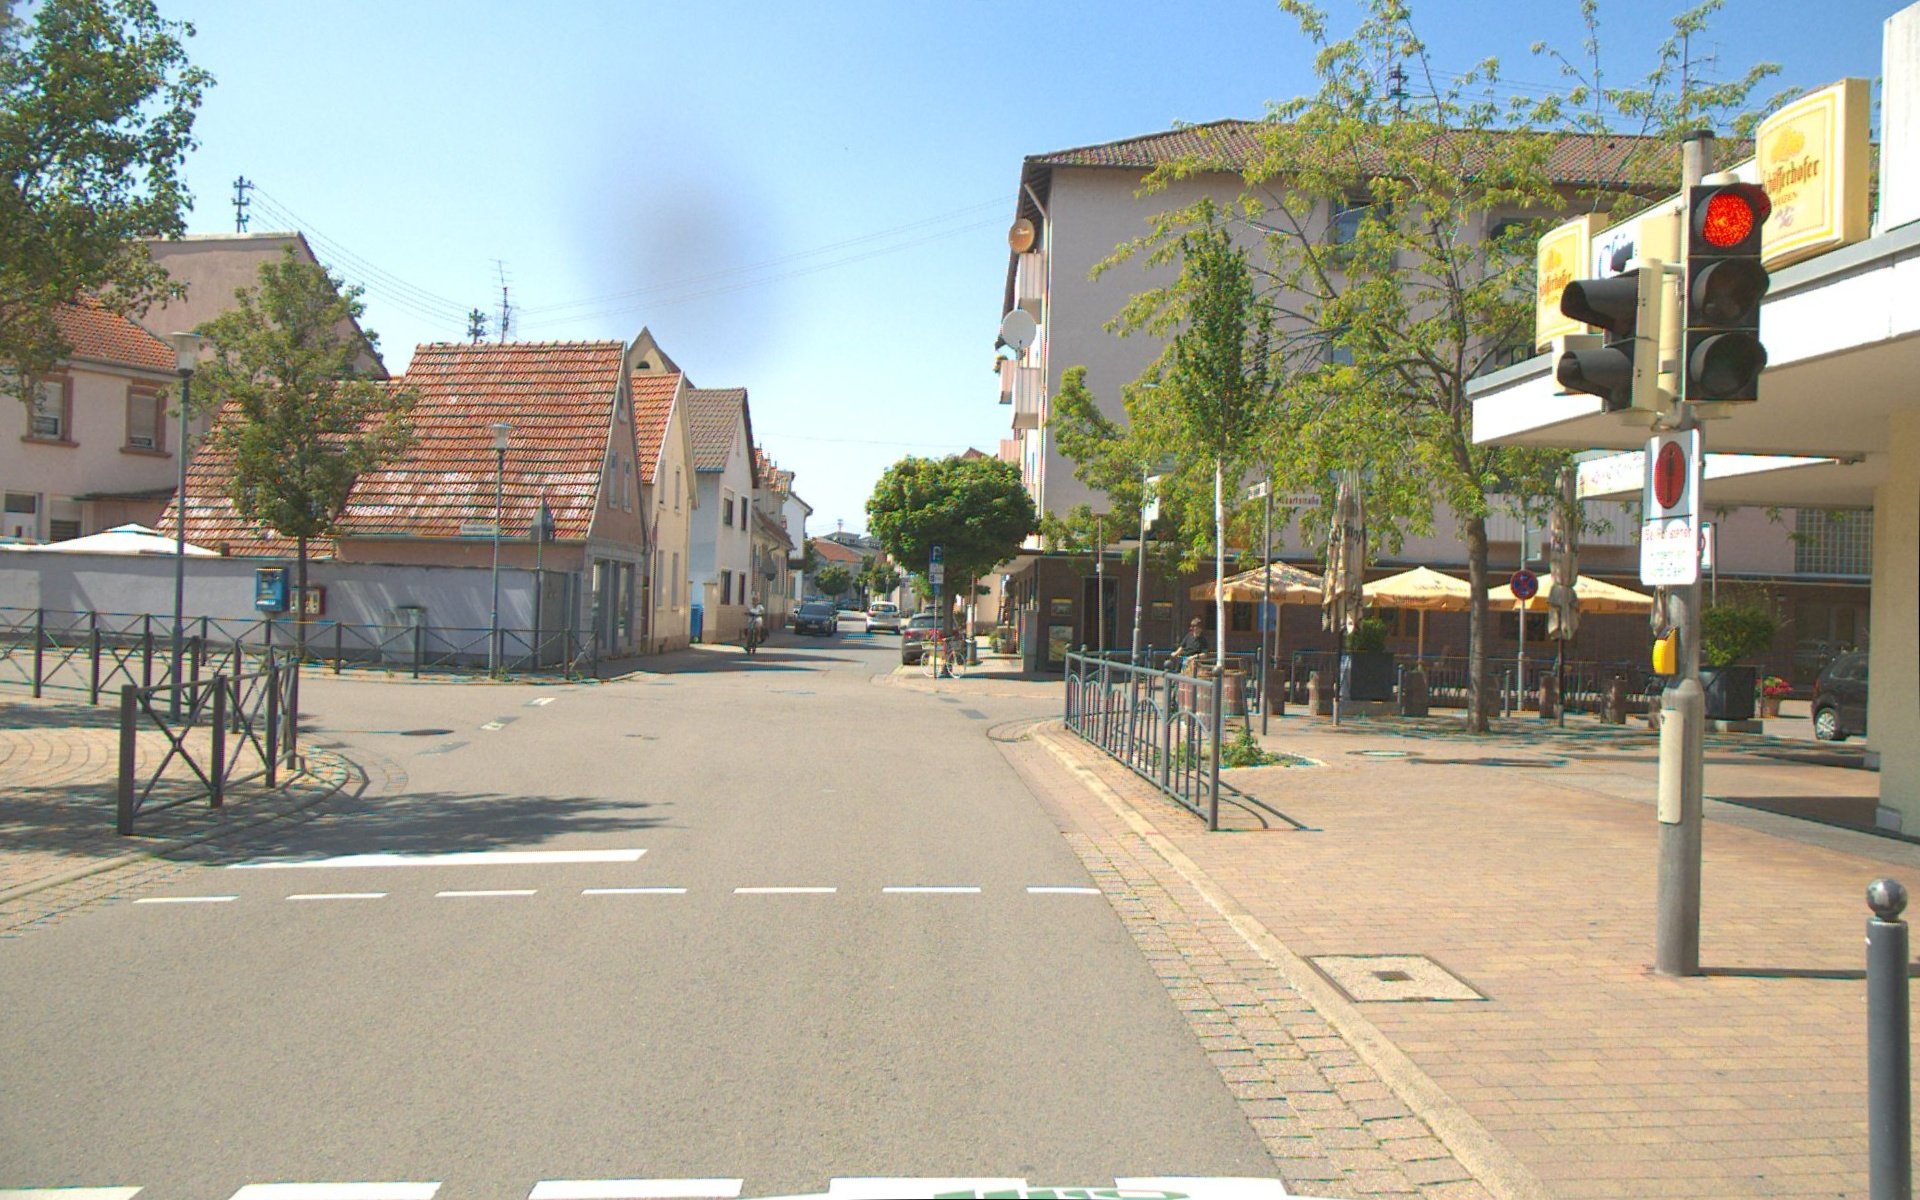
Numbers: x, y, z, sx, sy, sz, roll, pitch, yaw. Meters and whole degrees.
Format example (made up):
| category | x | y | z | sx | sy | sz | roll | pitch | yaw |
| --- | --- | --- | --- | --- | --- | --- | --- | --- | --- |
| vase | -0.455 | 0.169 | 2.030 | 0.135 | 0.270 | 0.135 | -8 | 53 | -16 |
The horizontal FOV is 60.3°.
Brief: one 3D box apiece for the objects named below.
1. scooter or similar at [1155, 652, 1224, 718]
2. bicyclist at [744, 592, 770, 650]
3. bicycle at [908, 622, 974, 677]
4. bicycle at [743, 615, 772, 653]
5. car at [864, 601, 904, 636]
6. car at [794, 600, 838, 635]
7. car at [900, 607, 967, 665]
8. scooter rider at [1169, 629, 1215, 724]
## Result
| category | x | y | z | sx | sy | sz | roll | pitch | yaw |
| --- | --- | --- | --- | --- | --- | --- | --- | --- | --- |
| scooter or similar | 3.220 | 1.194 | 23.248 | 0.875 | 0.889 | 0.377 | 2 | -1 | -22 |
| bicyclist | -6.085 | 0.614 | 49.586 | 0.655 | 1.720 | 0.761 | 1 | -1 | -1 |
| bicycle | -0.446 | 1.141 | 38.645 | 0.523 | 1.214 | 1.648 | 2 | -1 | -44 |
| bicycle | -6.089 | 1.011 | 49.694 | 0.660 | 1.113 | 1.895 | 0 | 0 | -1 |
| car | -3.876 | 0.932 | 84.853 | 1.796 | 1.681 | 4.000 | 2 | 0 | 0 |
| car | -6.782 | 0.814 | 78.094 | 1.679 | 1.543 | 3.786 | 2 | 0 | 0 |
| car | -0.714 | 0.991 | 47.378 | 1.768 | 1.528 | 4.000 | 2 | 0 | 0 |
| scooter rider | 3.261 | 1.066 | 23.258 | 0.410 | 1.308 | 0.514 | 2 | -1 | -21 |
